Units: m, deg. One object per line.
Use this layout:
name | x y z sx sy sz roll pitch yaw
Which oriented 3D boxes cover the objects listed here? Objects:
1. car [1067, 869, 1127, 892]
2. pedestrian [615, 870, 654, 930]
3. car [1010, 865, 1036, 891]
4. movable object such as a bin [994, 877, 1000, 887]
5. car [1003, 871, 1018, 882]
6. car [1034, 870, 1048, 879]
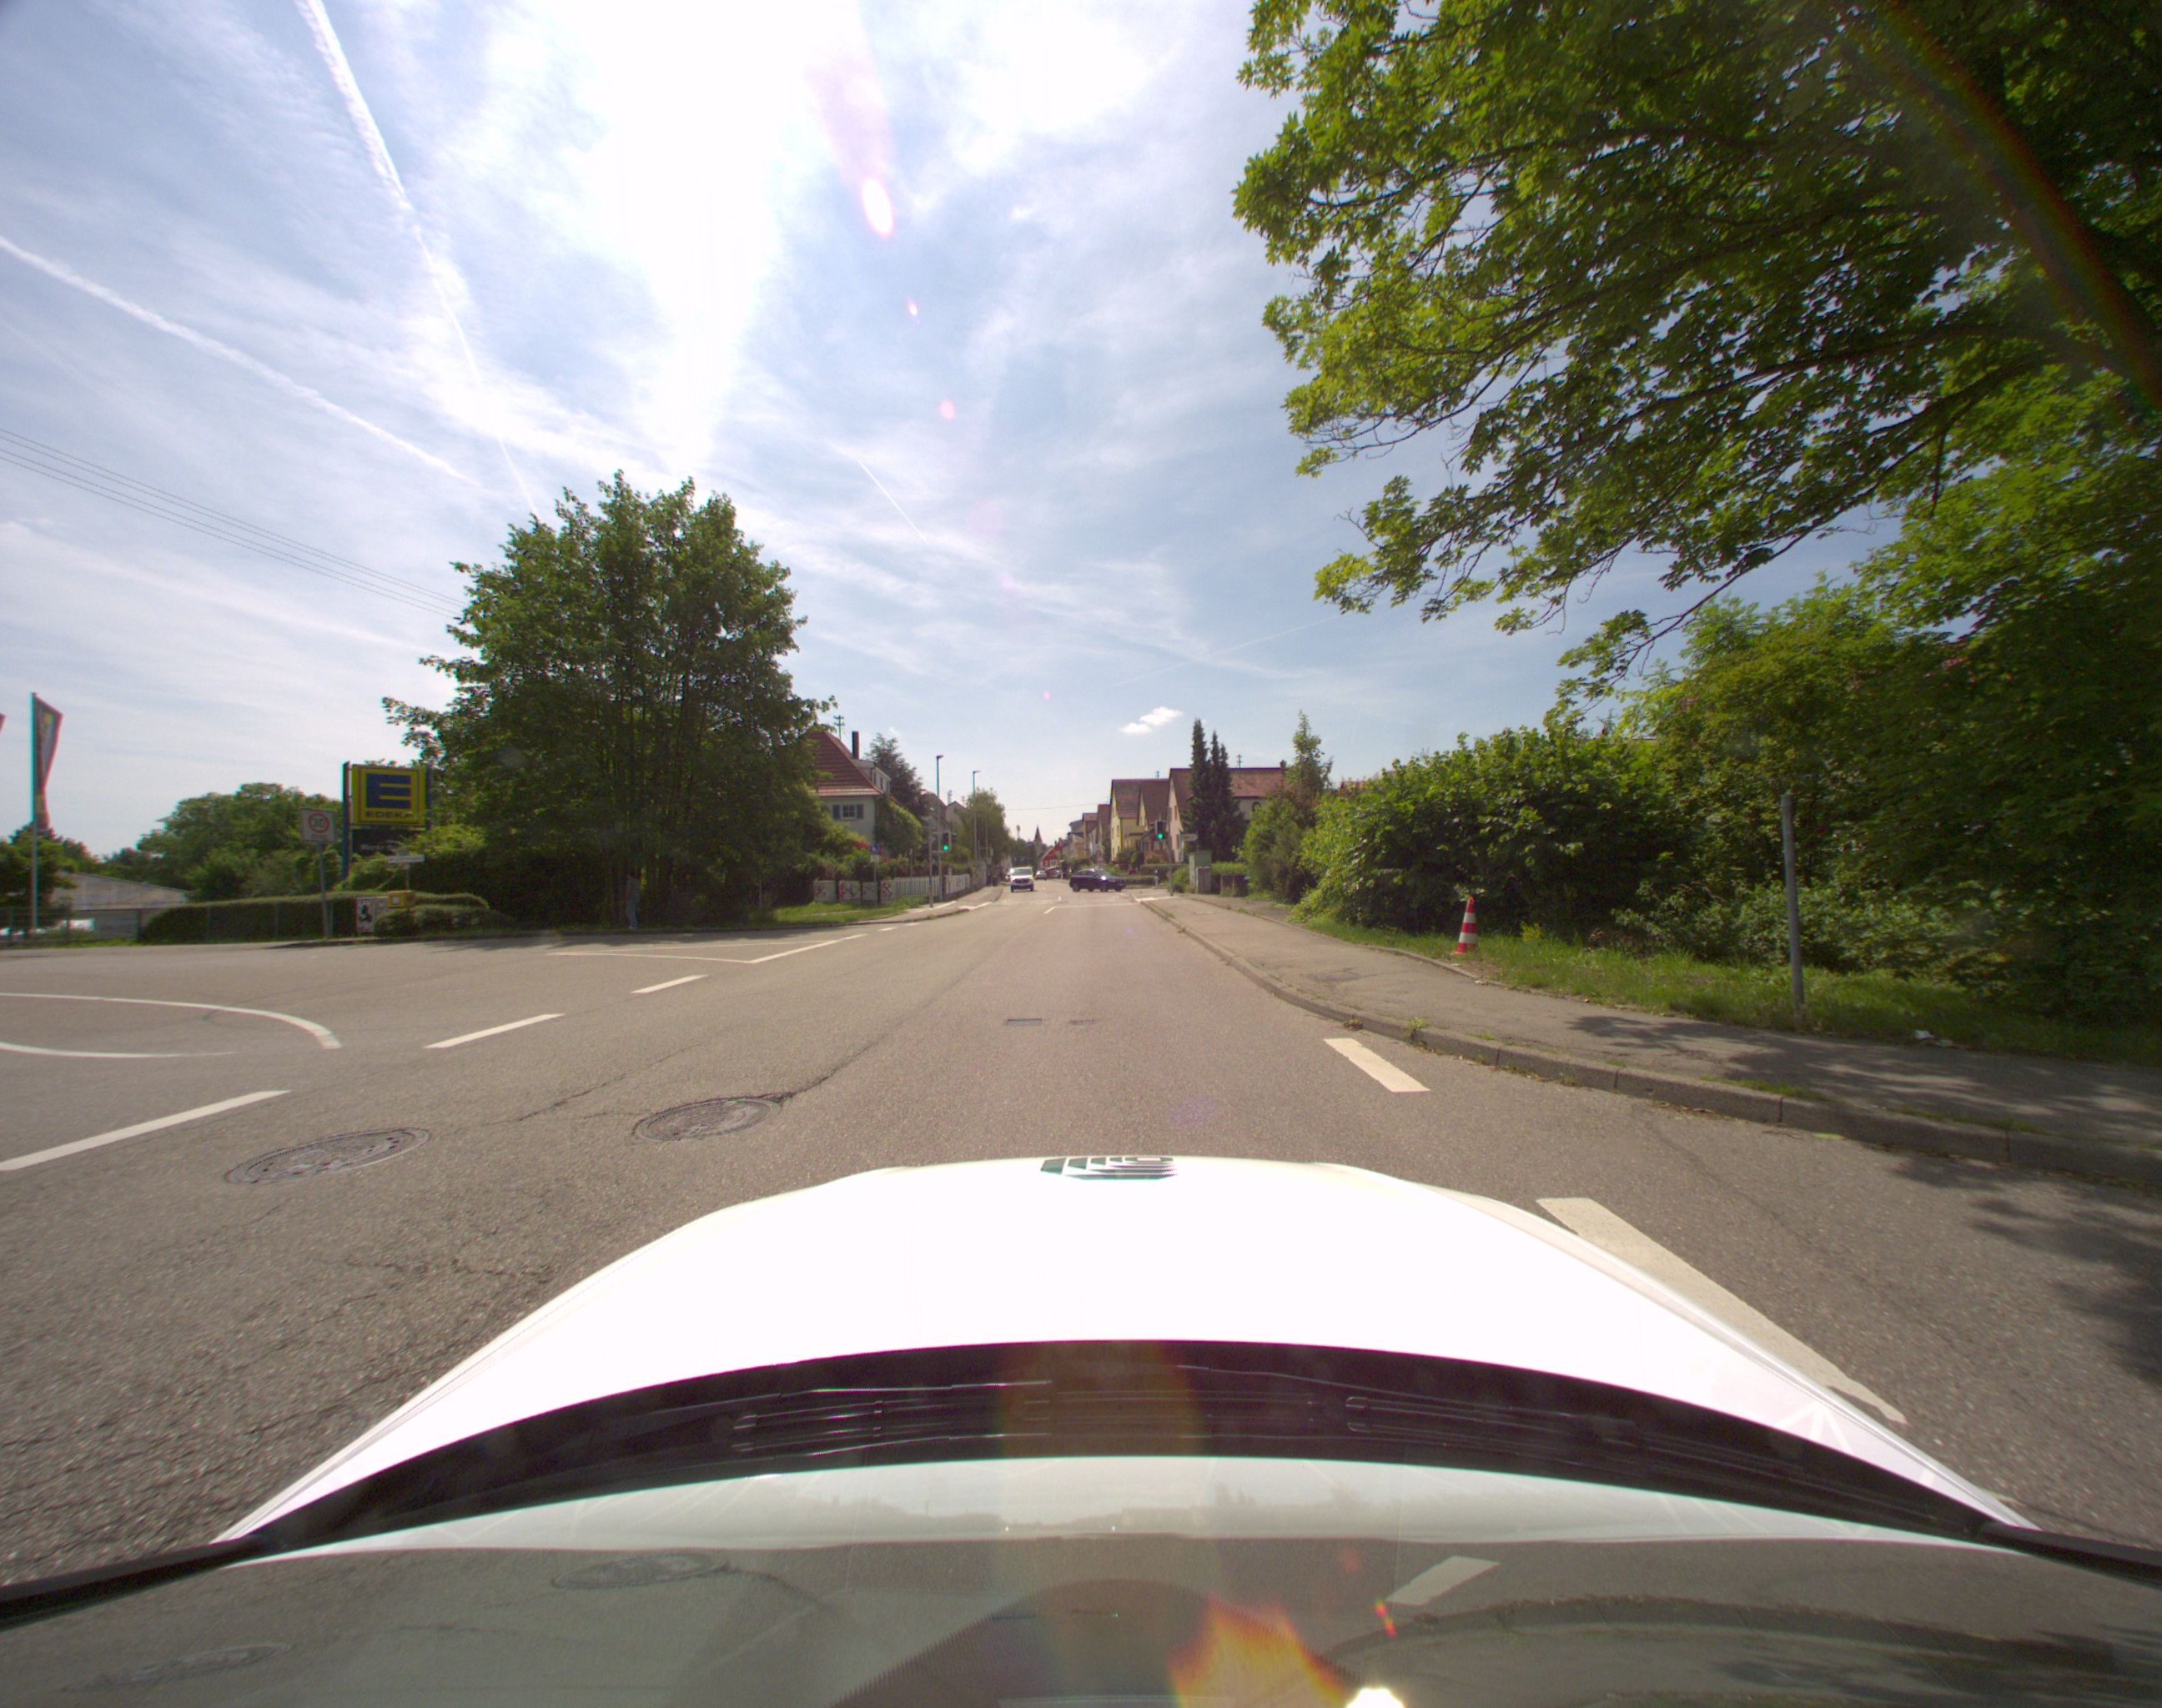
car | 1.107 1.880 57.289 4.250 1.541 1.549 -3 -1 42
pedestrian | -13.603 1.389 24.819 0.729 1.777 0.693 -4 -3 19
car | -4.748 1.981 66.502 1.877 1.965 4.892 -4 -2 -5
movable object such as a bin | -9.270 3.047 89.482 0.607 1.046 0.724 -1 0 -5
car | -11.318 3.609 131.107 2.104 1.561 4.312 -2 -1 -1
car | -6.705 3.436 136.789 1.993 1.561 4.301 -2 -1 -8
